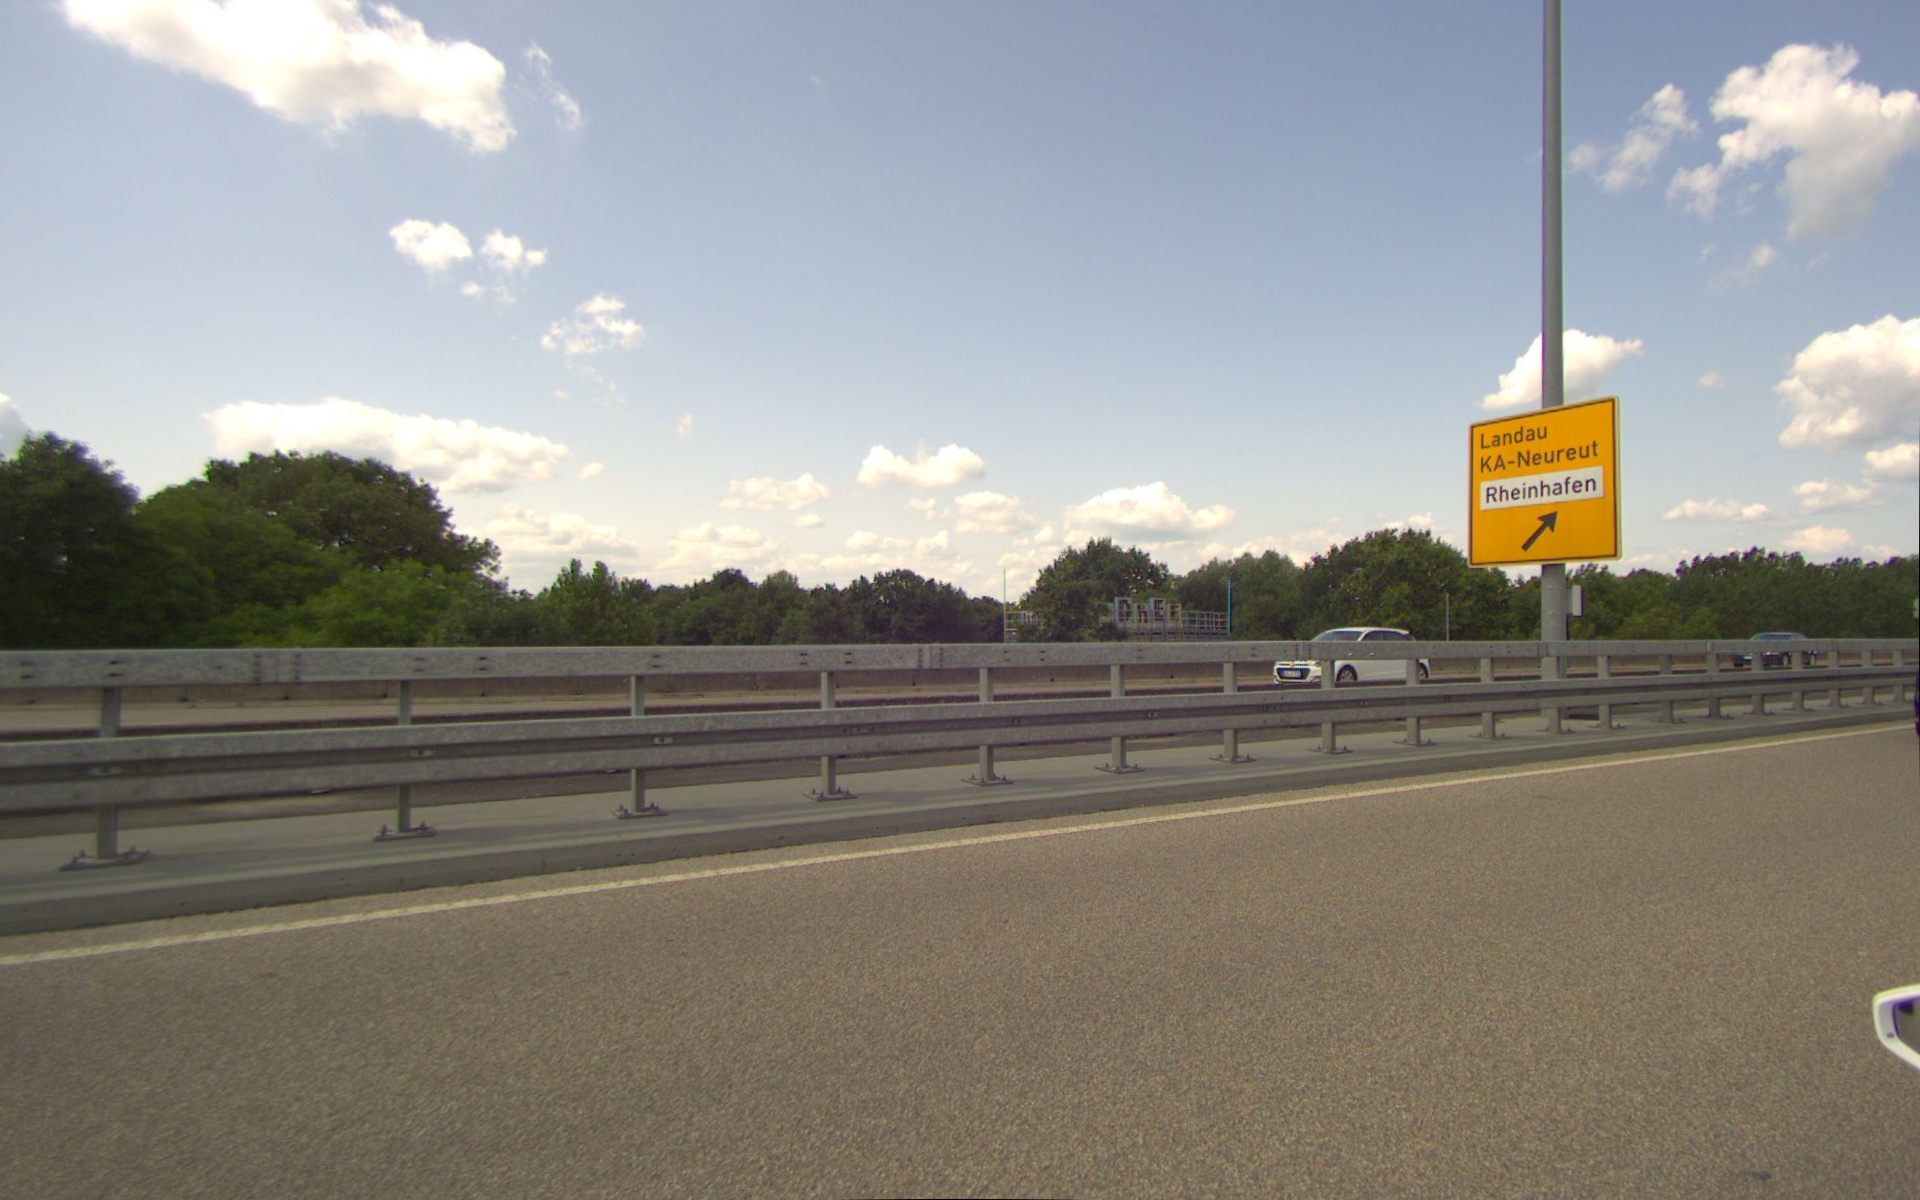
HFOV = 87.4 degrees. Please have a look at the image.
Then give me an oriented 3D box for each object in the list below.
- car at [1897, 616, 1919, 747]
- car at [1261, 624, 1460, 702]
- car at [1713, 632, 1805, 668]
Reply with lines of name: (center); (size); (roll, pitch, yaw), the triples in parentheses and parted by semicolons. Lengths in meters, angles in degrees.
car: (13.644, 1.010, 12.486); (4.539, 1.548, 1.703); (1, 0, -31)
car: (9.348, 1.390, 23.363); (4.656, 1.617, 1.789); (1, 0, -30)
car: (32.790, 2.023, 41.189); (3.953, 1.420, 1.670); (1, -1, -31)
